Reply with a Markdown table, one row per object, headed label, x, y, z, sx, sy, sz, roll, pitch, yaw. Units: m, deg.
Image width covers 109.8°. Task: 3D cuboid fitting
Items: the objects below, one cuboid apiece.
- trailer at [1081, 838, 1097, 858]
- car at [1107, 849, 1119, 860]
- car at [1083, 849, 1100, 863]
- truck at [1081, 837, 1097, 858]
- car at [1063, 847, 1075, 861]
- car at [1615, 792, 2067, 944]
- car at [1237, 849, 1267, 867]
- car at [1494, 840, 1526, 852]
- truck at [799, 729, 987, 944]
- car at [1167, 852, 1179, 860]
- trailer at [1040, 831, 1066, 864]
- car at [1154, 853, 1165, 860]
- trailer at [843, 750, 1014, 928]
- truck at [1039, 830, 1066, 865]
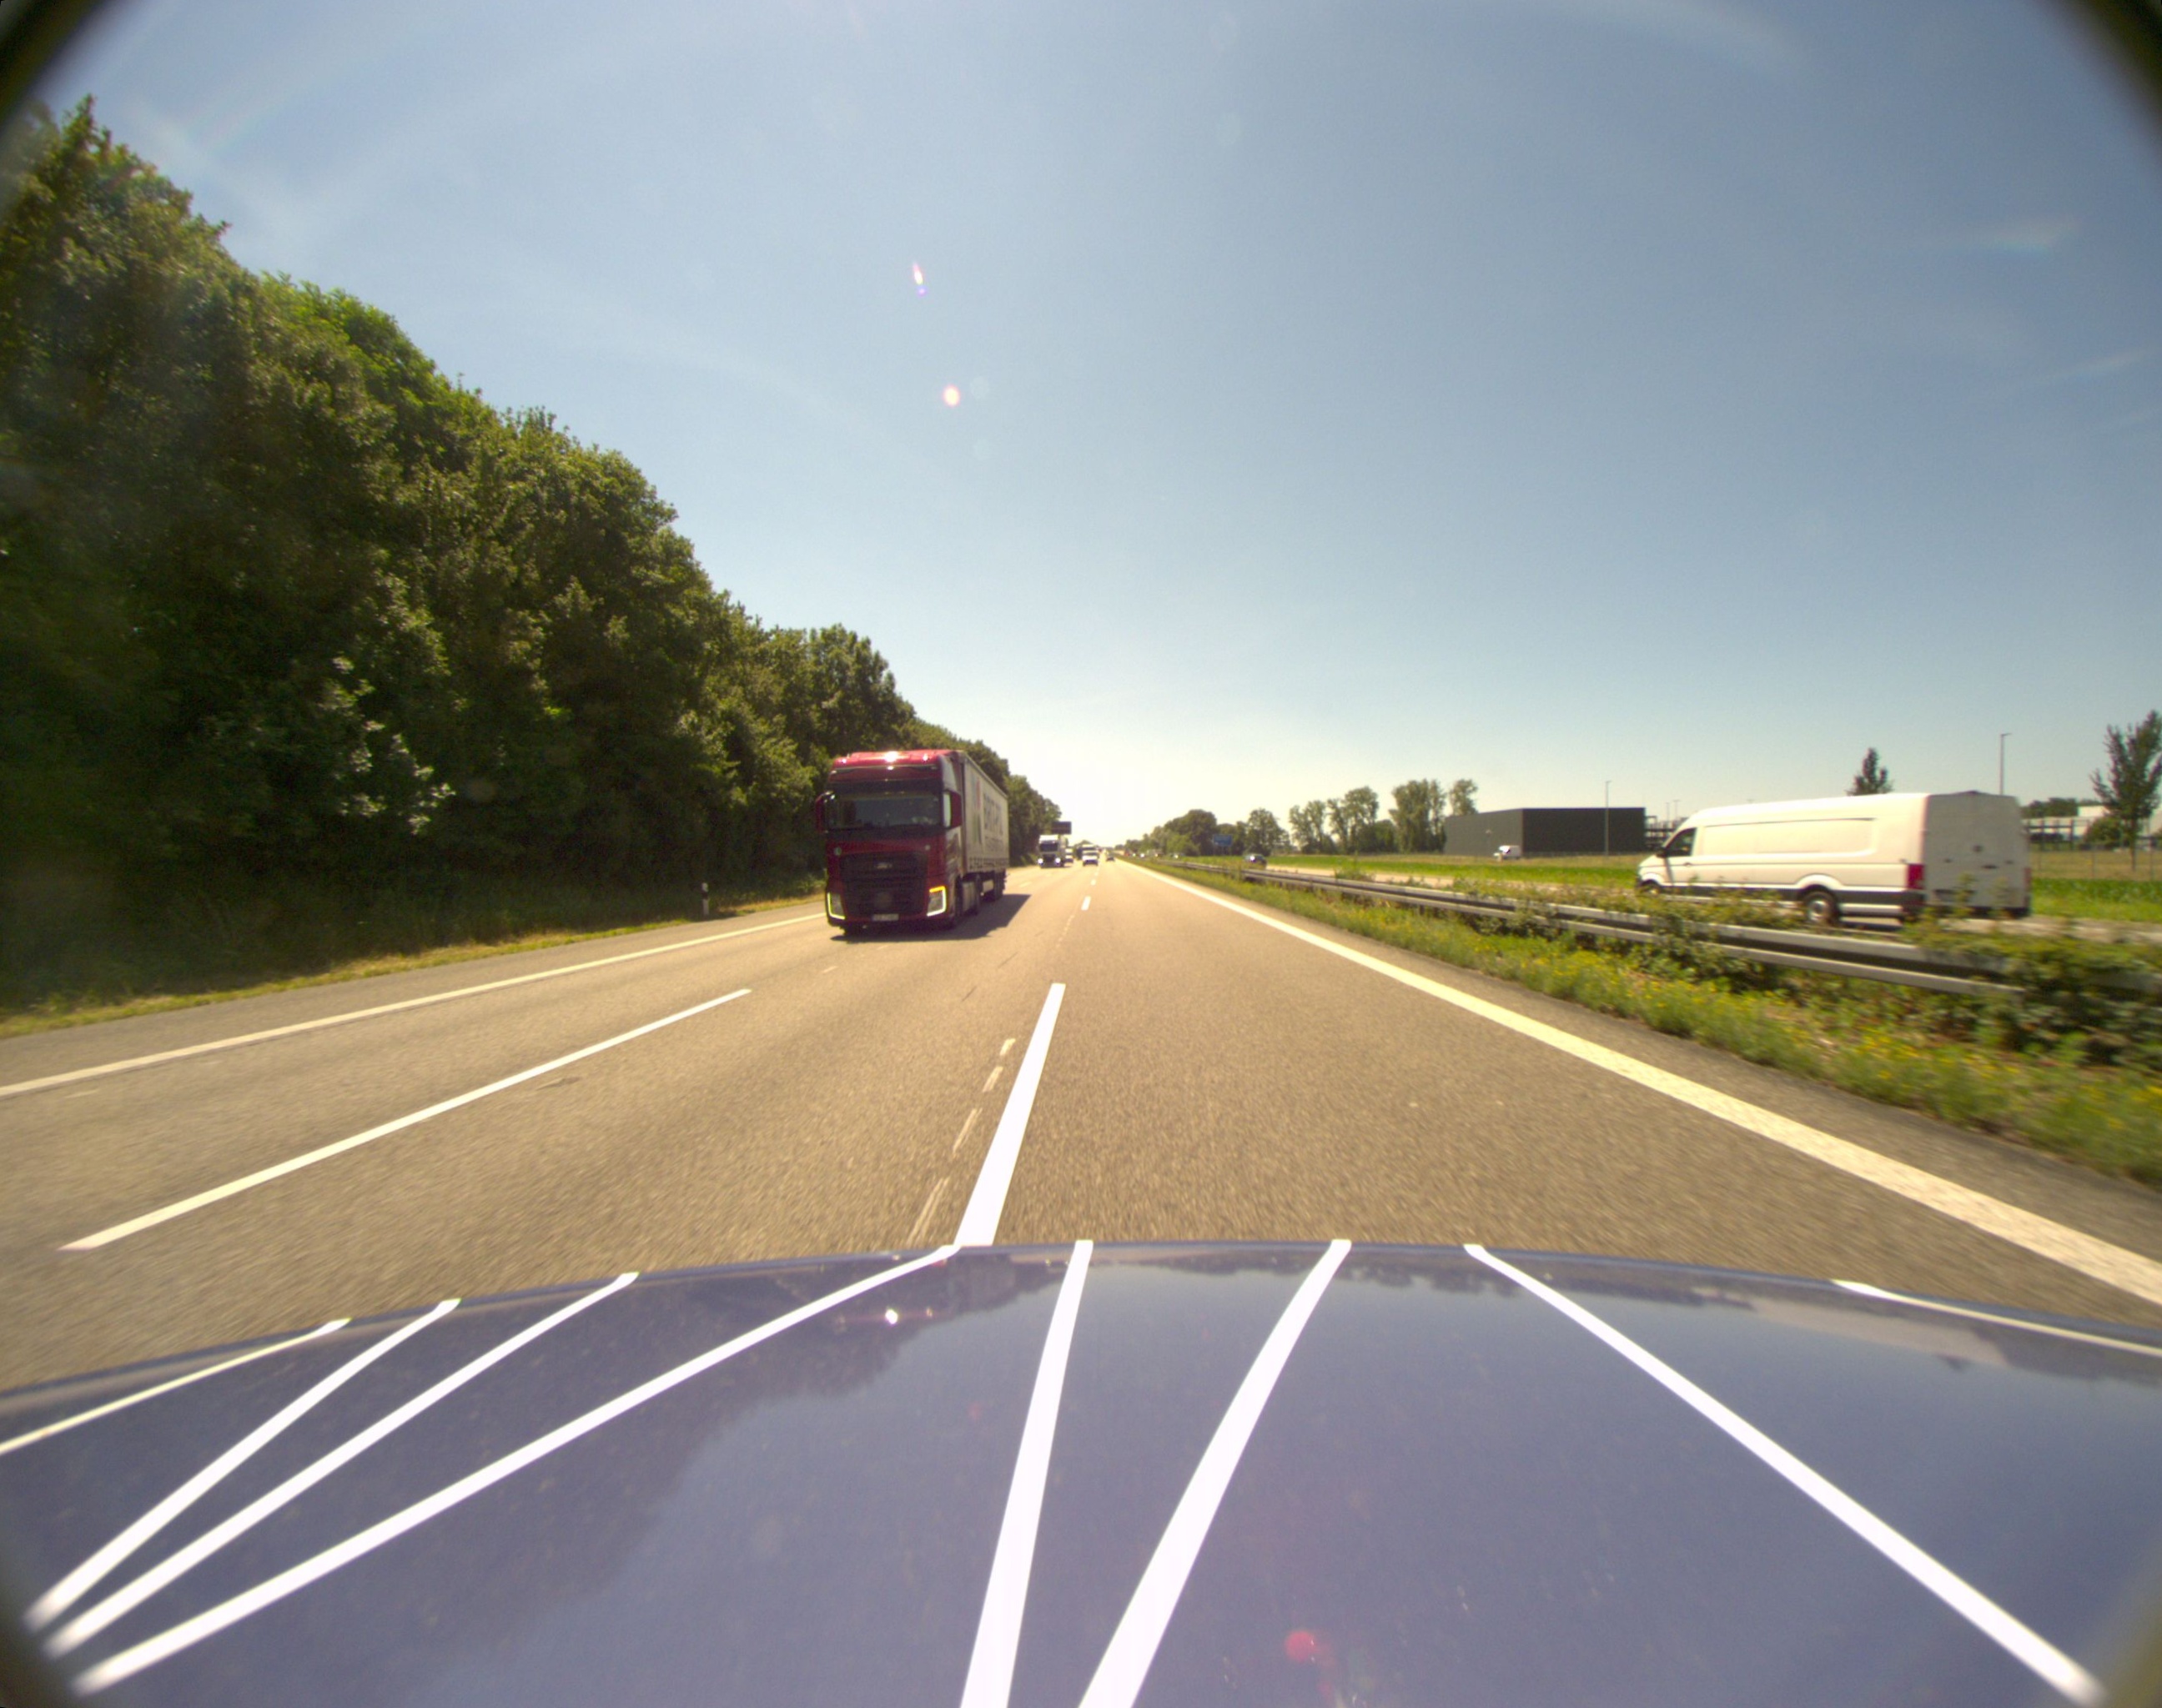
| label | x | y | z | sx | sy | sz | roll | pitch | yaw |
| --- | --- | --- | --- | --- | --- | --- | --- | --- | --- |
| trailer | 1.656 | -1.269 | 160.049 | 3.005 | 4.046 | 13.834 | -2 | 0 | 1 |
| car | 6.316 | 0.080 | 151.074 | 2.073 | 1.959 | 5.109 | 0 | 0 | 0 |
| car | 1.305 | 0.231 | 96.730 | 2.073 | 1.823 | 5.109 | 0 | 0 | 0 |
| truck | 1.575 | -1.233 | 152.692 | 2.998 | 4.046 | 5.771 | -2 | 0 | 1 |
| car | -2.161 | -0.007 | 138.086 | 2.073 | 2.328 | 5.767 | 0 | 0 | 0 |
| car | 15.461 | 0.215 | 16.648 | 2.072 | 2.539 | 7.934 | 0 | 0 | 1 |
| car | 16.920 | 0.402 | 75.519 | 2.019 | 1.735 | 4.910 | 0 | 0 | 1 |
| car | 78.997 | -1.409 | 139.991 | 2.559 | 2.235 | 6.082 | 0 | 0 | 1 |
| truck | -3.976 | -0.352 | 17.561 | 2.870 | 4.046 | 5.770 | -2 | 0 | -1 |
| car | 19.901 | 0.414 | 163.863 | 2.072 | 1.520 | 5.110 | 0 | 0 | 1 |
| trailer | -3.657 | -0.832 | 100.493 | 3.057 | 4.046 | 13.832 | -2 | 0 | -1 |
| car | 14.899 | 0.485 | 143.518 | 1.729 | 1.344 | 4.369 | 0 | 0 | 1 |
| trailer | -4.148 | -0.376 | 24.550 | 2.886 | 4.046 | 13.832 | -2 | 0 | -1 |
| truck | -3.499 | -0.807 | 93.805 | 3.064 | 4.046 | 5.770 | -2 | 0 | -1 |
